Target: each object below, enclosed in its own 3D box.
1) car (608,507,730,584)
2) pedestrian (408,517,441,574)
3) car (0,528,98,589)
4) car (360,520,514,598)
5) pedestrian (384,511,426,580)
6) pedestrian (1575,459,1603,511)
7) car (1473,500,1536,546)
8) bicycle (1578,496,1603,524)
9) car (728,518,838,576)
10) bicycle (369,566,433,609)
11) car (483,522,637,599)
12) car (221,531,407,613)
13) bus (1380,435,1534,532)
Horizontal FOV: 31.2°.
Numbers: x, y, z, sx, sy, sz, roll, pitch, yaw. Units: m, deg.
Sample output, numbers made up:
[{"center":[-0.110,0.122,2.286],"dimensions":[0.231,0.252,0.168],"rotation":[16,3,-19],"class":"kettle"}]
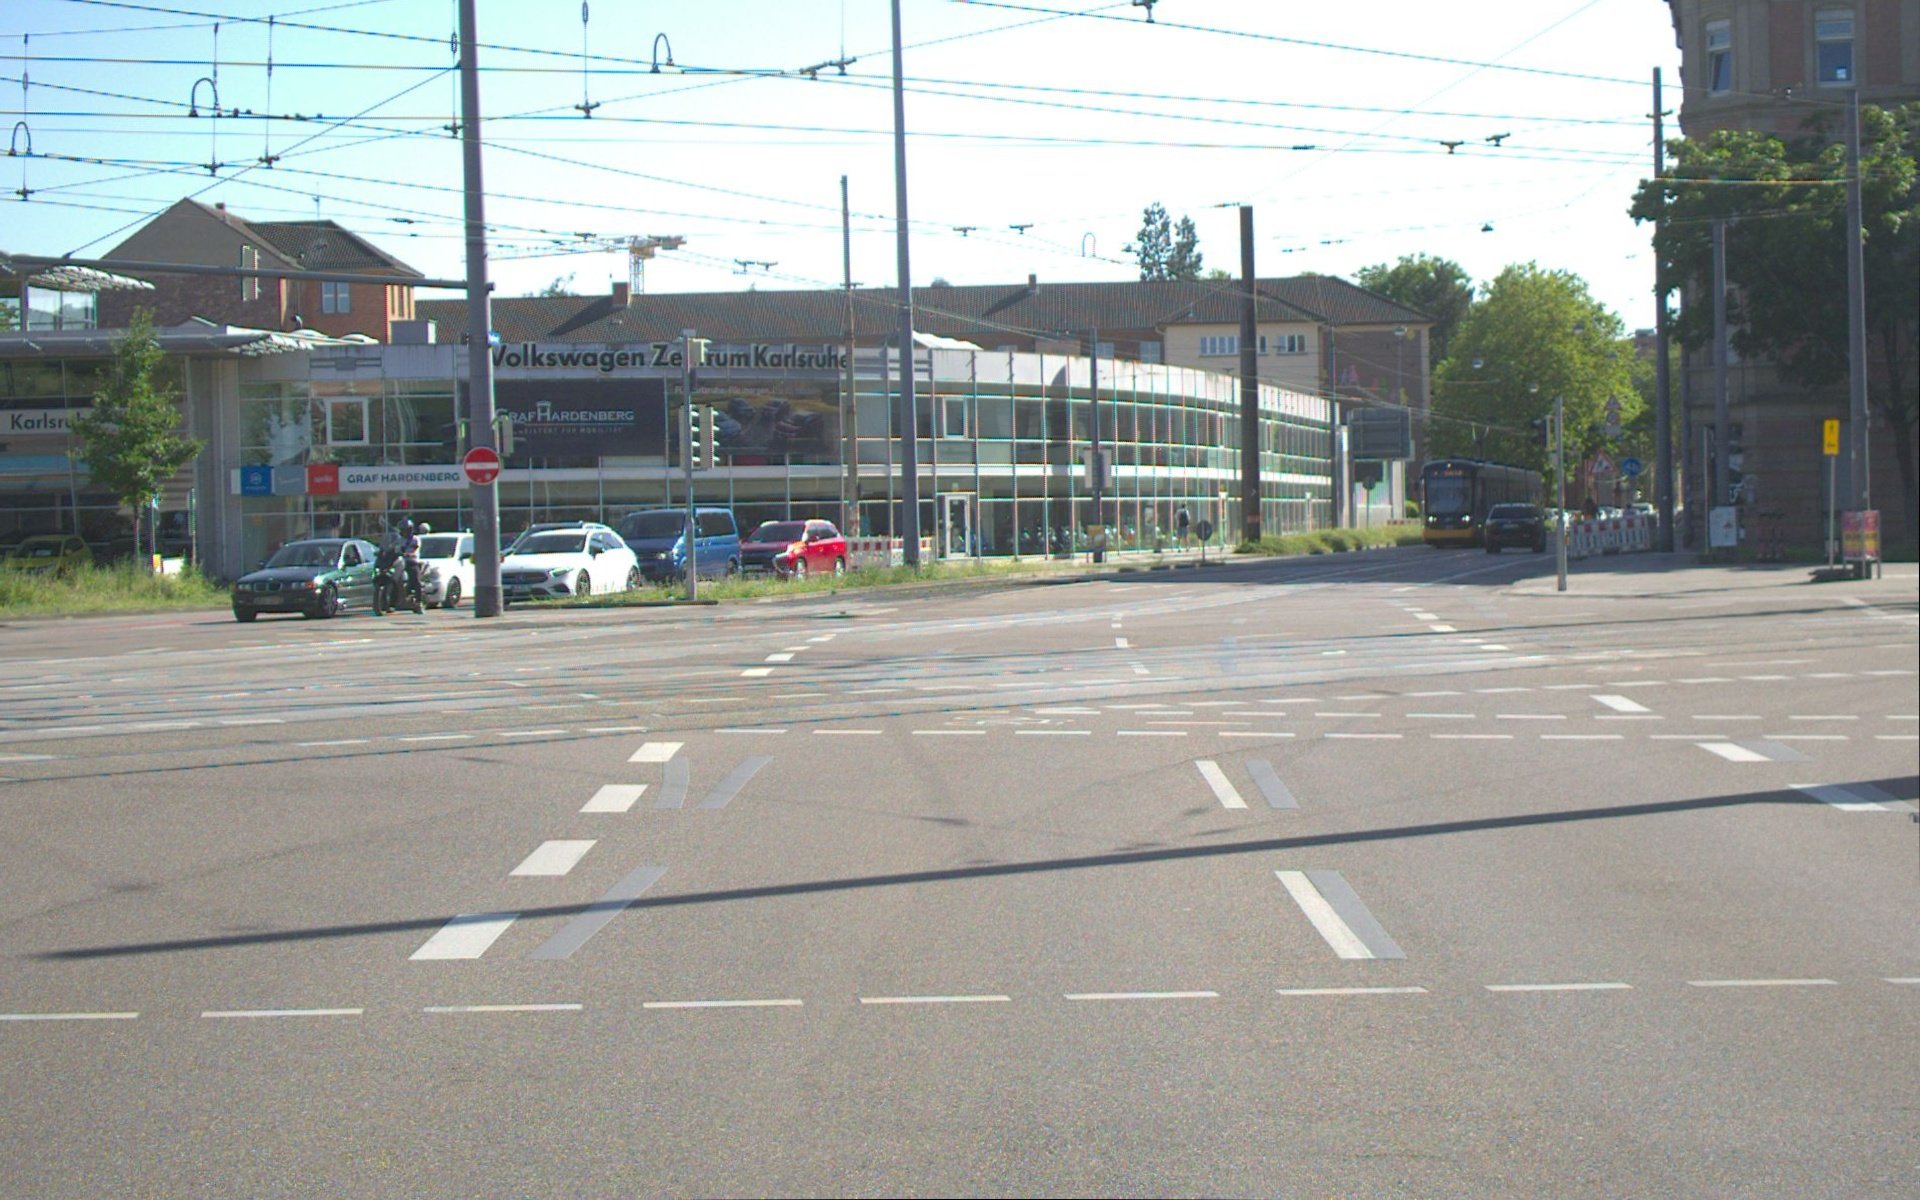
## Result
[{"center":[-6.651,-1.269,78.948],"dimensions":[1.627,1.686,3.683],"rotation":[-1,1,14],"class":"car"},{"center":[-11.448,-1.175,73.524],"dimensions":[0.423,1.200,0.680],"rotation":[-1,1,18],"class":"pedestrian"},{"center":[-26.540,-1.230,99.864],"dimensions":[1.966,1.700,4.084],"rotation":[-1,1,-1],"class":"car"},{"center":[-10.124,-0.812,66.817],"dimensions":[1.627,1.419,3.683],"rotation":[-1,1,14],"class":"car"},{"center":[-9.755,-0.963,60.403],"dimensions":[0.423,1.200,0.749],"rotation":[-1,1,17],"class":"pedestrian"},{"center":[19.727,-3.608,107.815],"dimensions":[0.803,1.626,0.718],"rotation":[-1,1,12],"class":"pedestrian"},{"center":[18.575,-2.633,117.199],"dimensions":[1.700,1.497,4.262],"rotation":[-1,1,14],"class":"car"},{"center":[19.684,-2.808,107.313],"dimensions":[0.743,0.867,1.930],"rotation":[-1,1,11],"class":"bicycle"},{"center":[-4.403,-1.340,86.075],"dimensions":[1.627,1.359,3.683],"rotation":[-1,1,16],"class":"car"},{"center":[-9.785,-0.220,60.257],"dimensions":[0.423,0.715,1.633],"rotation":[-1,1,17],"class":"bicycle"},{"center":[-7.525,-0.764,64.936],"dimensions":[1.627,1.377,3.735],"rotation":[-1,1,14],"class":"car"},{"center":[-11.392,-0.512,60.866],"dimensions":[1.705,1.349,3.698],"rotation":[-1,1,17],"class":"car"},{"center":[21.338,-4.762,145.774],"dimensions":[3.839,3.595,24.850],"rotation":[1,1,14],"class":"bus"}]
